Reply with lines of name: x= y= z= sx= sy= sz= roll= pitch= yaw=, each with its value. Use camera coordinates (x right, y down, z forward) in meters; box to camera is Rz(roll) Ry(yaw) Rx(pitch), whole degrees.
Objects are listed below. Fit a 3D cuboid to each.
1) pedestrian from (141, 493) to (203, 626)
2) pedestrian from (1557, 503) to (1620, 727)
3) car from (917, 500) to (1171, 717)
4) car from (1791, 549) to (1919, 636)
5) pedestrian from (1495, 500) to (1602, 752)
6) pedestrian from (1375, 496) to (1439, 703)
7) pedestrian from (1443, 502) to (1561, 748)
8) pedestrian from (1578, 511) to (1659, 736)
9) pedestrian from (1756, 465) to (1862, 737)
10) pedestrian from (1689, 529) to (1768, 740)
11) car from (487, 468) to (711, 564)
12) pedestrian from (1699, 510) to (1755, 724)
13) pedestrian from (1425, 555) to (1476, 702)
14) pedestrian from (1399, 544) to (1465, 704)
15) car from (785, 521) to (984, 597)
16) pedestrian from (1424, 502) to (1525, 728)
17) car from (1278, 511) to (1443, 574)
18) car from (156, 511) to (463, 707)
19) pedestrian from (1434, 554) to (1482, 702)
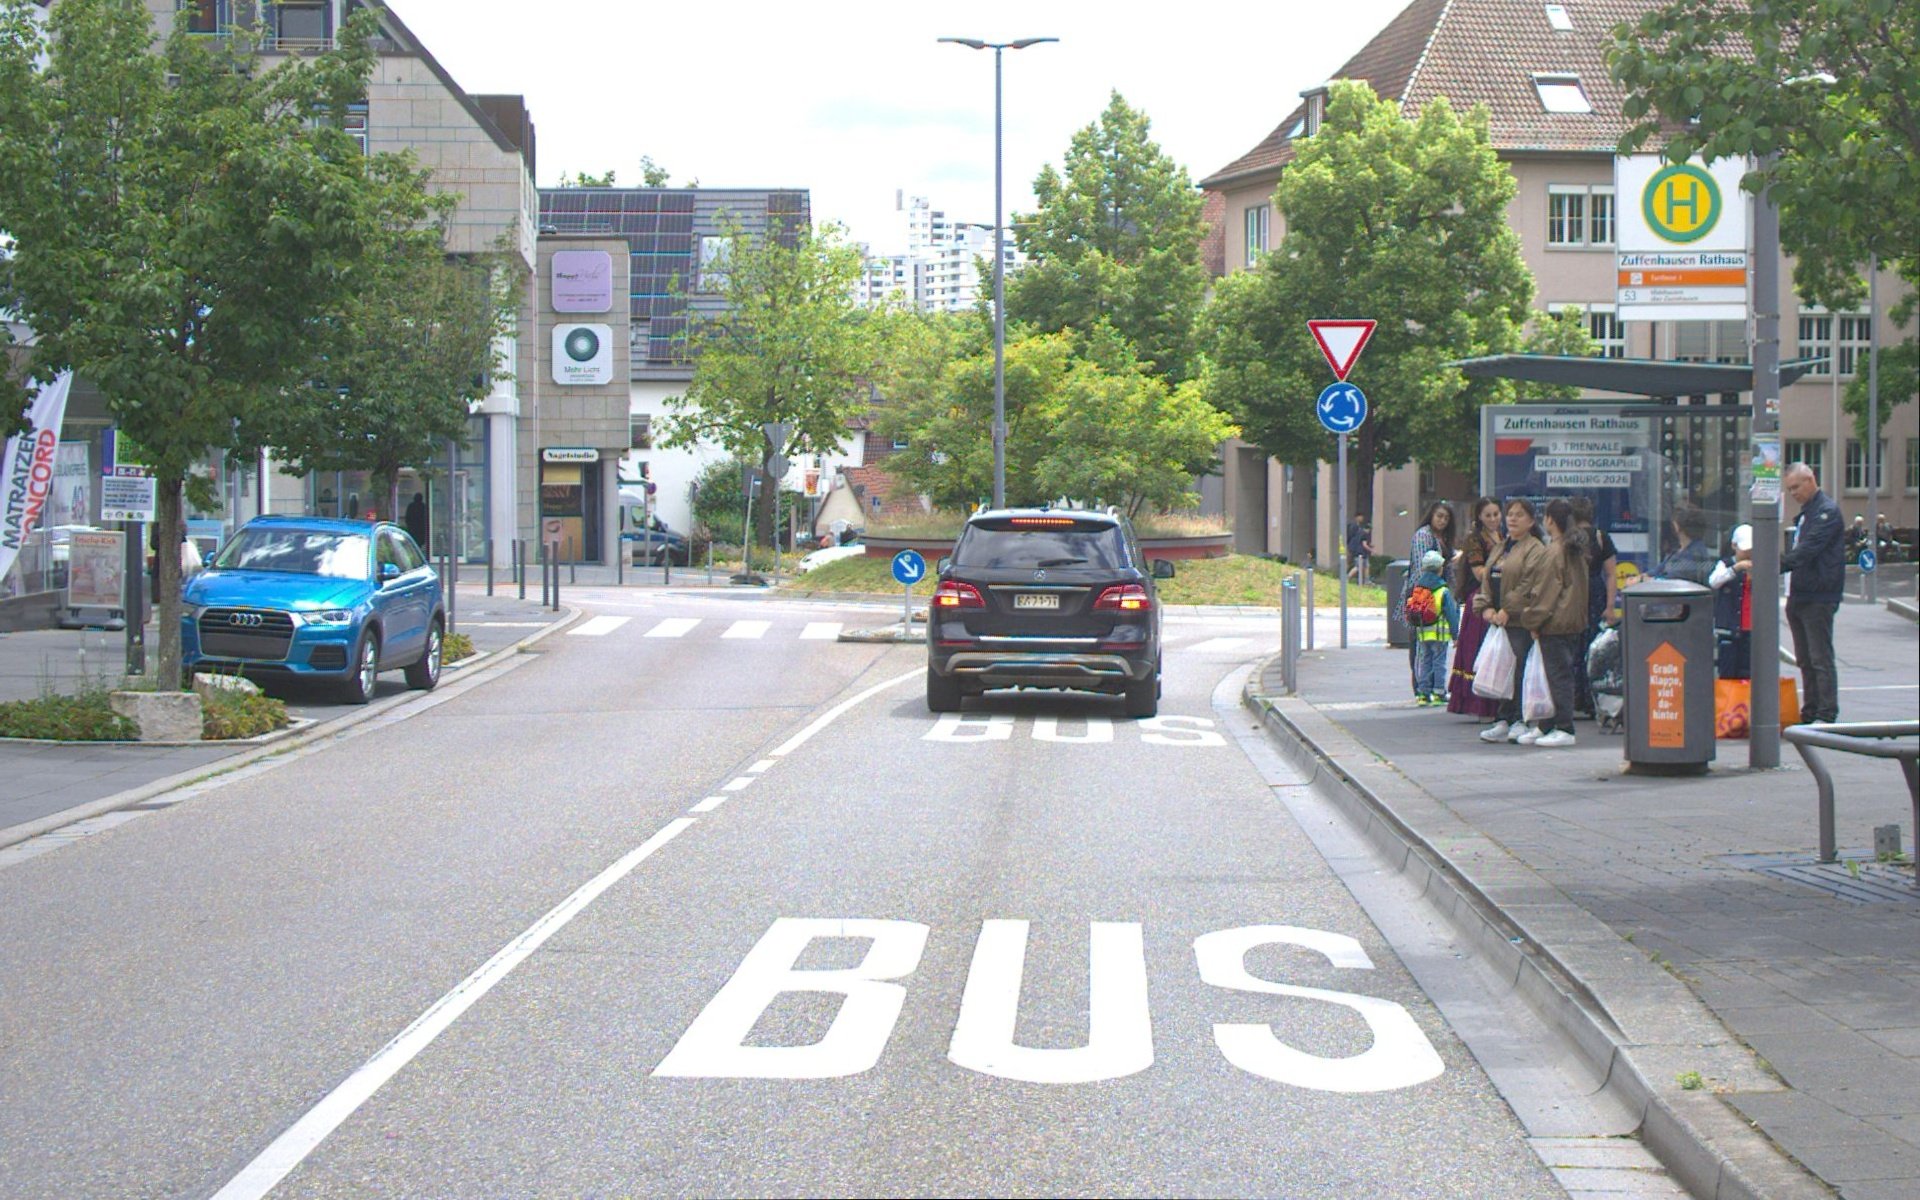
pedestrian: x=-9.513 y=-0.495 z=41.513 sx=0.587 sy=1.582 sz=0.639 roll=1 pitch=1 yaw=-1
pedestrian: x=4.422 y=0.102 z=24.194 sx=0.393 sy=1.560 sz=0.352 roll=-1 pitch=1 yaw=6
car: x=0.713 y=0.095 z=30.020 sx=2.027 sy=1.721 sz=4.433 roll=1 pitch=-1 yaw=1
car: x=15.722 y=-0.153 z=57.663 sx=3.826 sy=1.378 sz=1.613 roll=-1 pitch=2 yaw=-43
pedestrian: x=3.670 y=0.153 z=21.429 sx=0.513 sy=1.544 sz=0.486 roll=0 pitch=1 yaw=28
pedestrian: x=3.543 y=-0.006 z=27.224 sx=0.387 sy=1.614 sz=0.469 roll=-2 pitch=1 yaw=16
pedestrian: x=3.457 y=0.150 z=21.942 sx=0.485 sy=1.544 sz=0.543 roll=-2 pitch=2 yaw=-45
pedestrian: x=4.288 y=0.148 z=22.398 sx=0.377 sy=1.437 sz=0.416 roll=-2 pitch=1 yaw=-5
pedestrian: x=5.331 y=0.000 z=21.607 sx=0.511 sy=1.674 sz=0.576 roll=-1 pitch=1 yaw=1
pedestrian: x=4.832 y=0.211 z=21.628 sx=0.389 sy=1.301 sz=0.355 roll=-2 pitch=1 yaw=3
car: x=-10.805 y=-2.492 z=102.895 sx=6.283 sy=2.551 sz=2.207 roll=2 pitch=-2 yaw=-20
pedestrian: x=5.260 y=0.111 z=23.582 sx=0.274 sy=1.453 sz=0.320 roll=-1 pitch=1 yaw=-6
pedestrian: x=3.902 y=0.224 z=27.356 sx=0.263 sy=1.157 sz=0.271 roll=-3 pitch=1 yaw=-27
pedestrian: x=3.660 y=0.181 z=26.638 sx=0.403 sy=1.222 sz=0.387 roll=0 pitch=1 yaw=23
car: x=-1.610 y=-0.876 z=72.937 sx=3.870 sy=1.526 sz=1.659 roll=-1 pitch=1 yaw=-21
pedestrian: x=3.615 y=0.096 z=24.141 sx=0.497 sy=1.560 sz=0.500 roll=0 pitch=2 yaw=41
car: x=10.331 y=-1.485 z=88.622 sx=3.870 sy=1.526 sz=1.659 roll=-1 pitch=1 yaw=-21
car: x=-5.890 y=0.032 z=31.611 sx=1.694 sy=1.594 sz=4.331 roll=3 pitch=1 yaw=3
pedestrian: x=3.918 y=0.217 z=27.043 sx=0.297 sy=1.148 sz=0.293 roll=-2 pitch=1 yaw=0
